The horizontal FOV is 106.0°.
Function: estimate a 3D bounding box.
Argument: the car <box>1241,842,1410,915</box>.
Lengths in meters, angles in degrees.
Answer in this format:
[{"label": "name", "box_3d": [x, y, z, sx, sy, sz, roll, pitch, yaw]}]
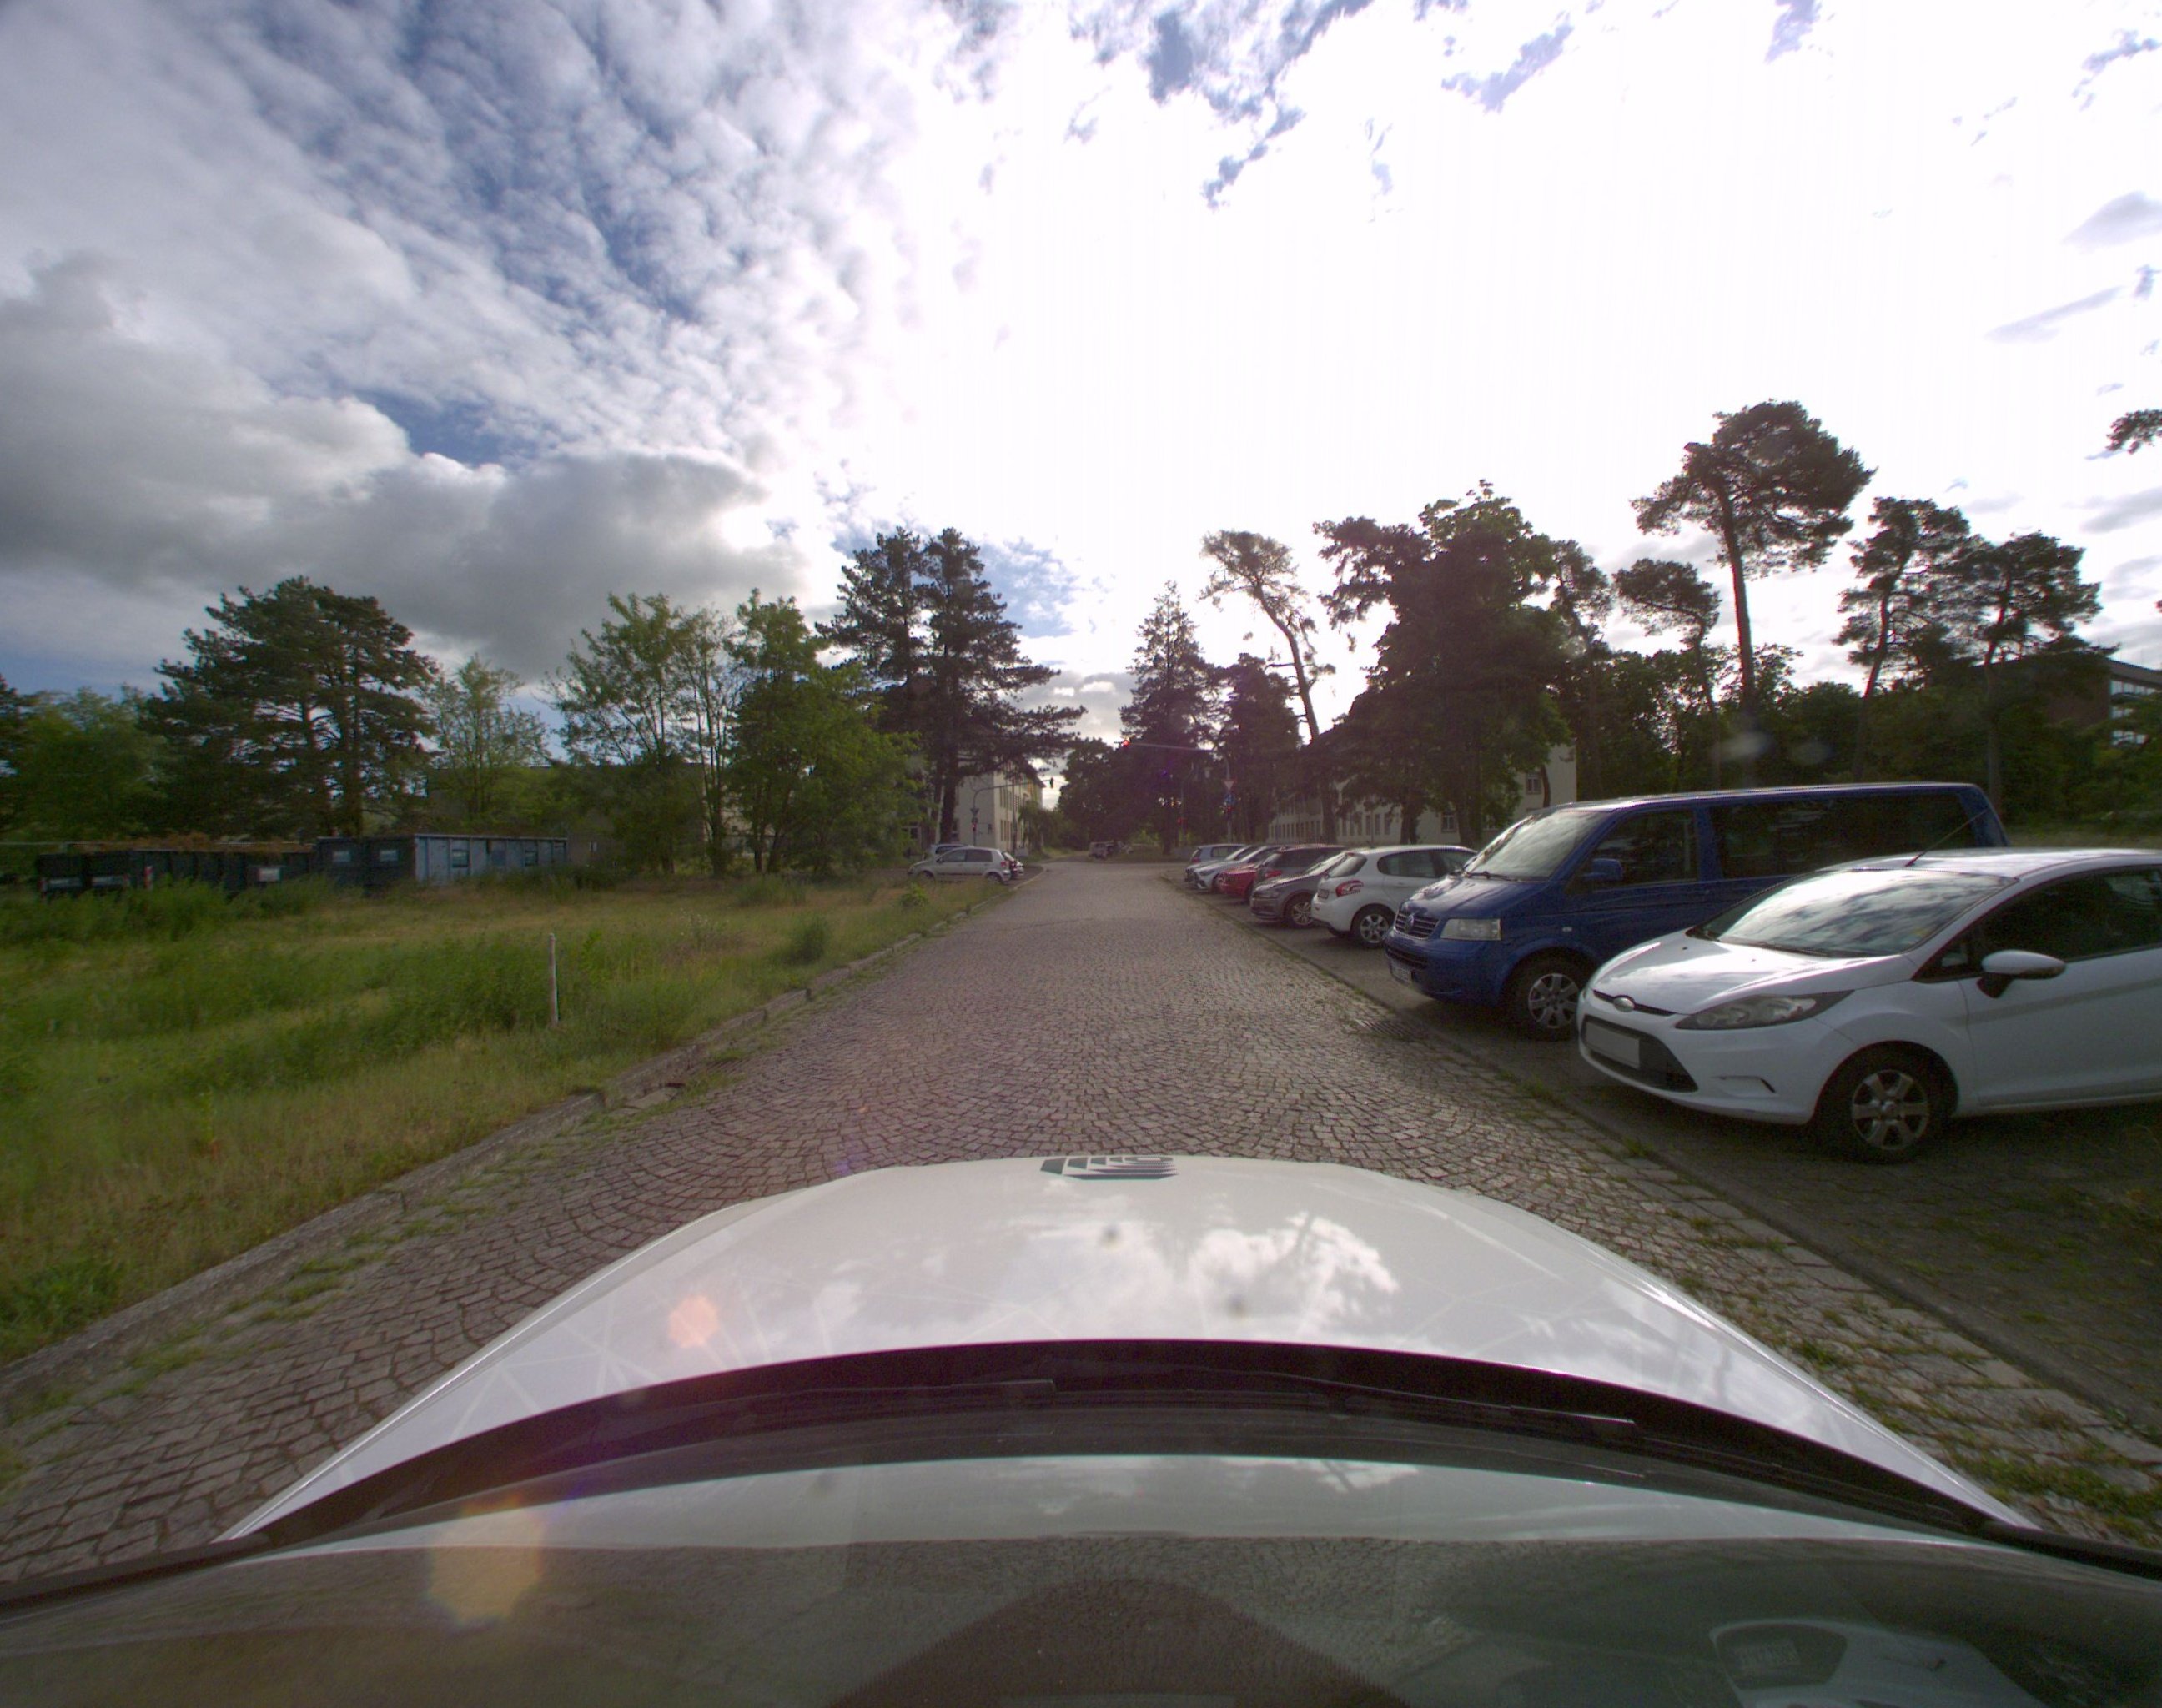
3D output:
[{"label": "car", "box_3d": [5.501, 0.509, 18.531, 3.292, 1.504, 1.659, -1, 1, -10]}]

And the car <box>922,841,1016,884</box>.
[{"label": "car", "box_3d": [-4.876, 0.350, 35.963, 3.982, 1.750, 1.923, -1, 1, -6]}]

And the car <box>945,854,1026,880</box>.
[{"label": "car", "box_3d": [-4.427, 0.610, 38.159, 3.665, 1.093, 1.643, -1, 1, -5]}]

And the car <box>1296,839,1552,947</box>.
[{"label": "car", "box_3d": [5.227, 0.552, 12.701, 3.283, 1.504, 1.663, -1, 1, -1]}]

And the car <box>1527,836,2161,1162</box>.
[{"label": "car", "box_3d": [4.950, 0.684, 4.817, 3.712, 1.424, 1.653, -3, 1, -2]}]

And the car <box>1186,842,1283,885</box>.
[{"label": "car", "box_3d": [5.836, 0.332, 31.111, 3.383, 1.543, 1.389, -1, 1, -5]}]

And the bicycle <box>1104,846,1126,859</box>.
[{"label": "bicycle", "box_3d": [3.400, -0.159, 81.925, 2.157, 1.268, 0.811, -1, 0, -6]}]

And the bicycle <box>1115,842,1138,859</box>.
[{"label": "bicycle", "box_3d": [4.550, -0.333, 81.409, 2.157, 1.615, 0.811, -1, 0, -6]}]

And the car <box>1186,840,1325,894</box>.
[{"label": "car", "box_3d": [5.455, 0.382, 25.726, 3.980, 1.543, 1.661, -1, 1, -5]}]

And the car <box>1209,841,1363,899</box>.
[{"label": "car", "box_3d": [5.852, 0.435, 23.491, 3.980, 1.543, 1.661, -1, 1, -5]}]

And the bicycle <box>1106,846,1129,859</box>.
[{"label": "bicycle", "box_3d": [3.609, -0.160, 80.709, 2.157, 1.268, 0.811, -1, 0, -6]}]

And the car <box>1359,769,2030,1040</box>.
[{"label": "car", "box_3d": [5.171, 0.377, 7.299, 4.768, 2.039, 1.737, -1, 1, -1]}]

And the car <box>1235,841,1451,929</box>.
[{"label": "car", "box_3d": [4.966, 0.539, 15.657, 3.598, 1.506, 1.659, -1, 1, -10]}]

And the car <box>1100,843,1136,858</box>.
[{"label": "car", "box_3d": [4.314, -0.426, 94.664, 3.981, 1.644, 1.997, -1, 1, -5]}]

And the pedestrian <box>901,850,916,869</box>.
[{"label": "pedestrian", "box_3d": [-13.676, 0.438, 64.609, 0.895, 1.498, 0.905, -1, 0, 2]}]

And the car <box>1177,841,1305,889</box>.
[{"label": "car", "box_3d": [5.551, 0.349, 28.543, 4.116, 1.543, 1.661, -1, 1, -5]}]

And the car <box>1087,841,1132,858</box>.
[{"label": "car", "box_3d": [3.423, -0.560, 97.950, 5.050, 2.013, 1.994, -1, 1, -10]}]

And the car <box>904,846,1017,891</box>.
[{"label": "car", "box_3d": [-4.416, 0.510, 30.397, 3.981, 1.552, 1.997, -1, 1, -5]}]

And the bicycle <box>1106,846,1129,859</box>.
[{"label": "bicycle", "box_3d": [3.600, -0.160, 80.121, 2.157, 1.268, 0.811, -1, 0, -6]}]

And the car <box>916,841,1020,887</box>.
[{"label": "car", "box_3d": [-4.489, 0.358, 32.888, 3.981, 1.706, 1.997, -1, 1, -5]}]

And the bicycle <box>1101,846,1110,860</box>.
[{"label": "bicycle", "box_3d": [2.266, -0.062, 76.374, 0.806, 1.268, 1.974, -1, 1, 2]}]

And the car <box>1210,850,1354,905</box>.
[{"label": "car", "box_3d": [5.183, 0.581, 21.250, 3.287, 1.267, 1.661, -1, 1, -5]}]
